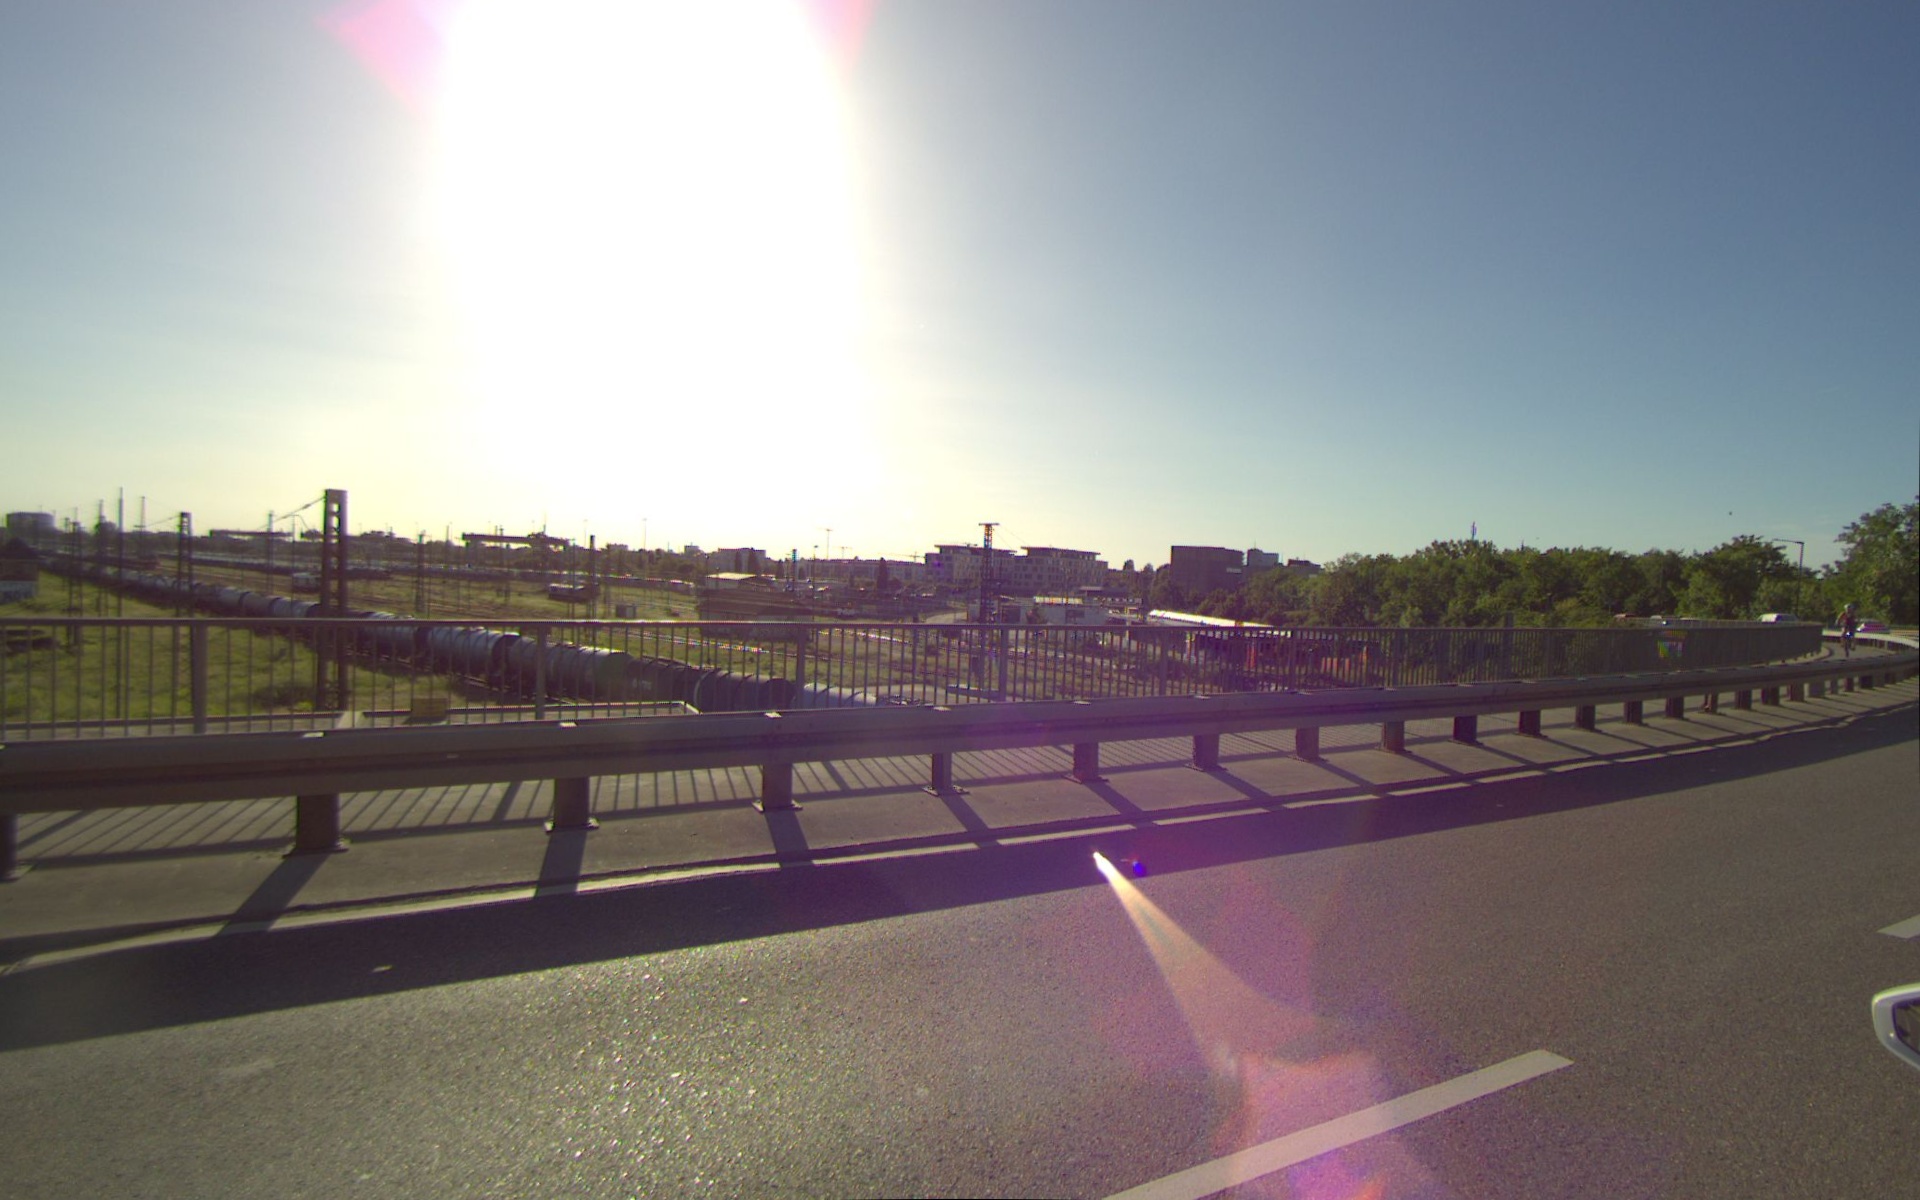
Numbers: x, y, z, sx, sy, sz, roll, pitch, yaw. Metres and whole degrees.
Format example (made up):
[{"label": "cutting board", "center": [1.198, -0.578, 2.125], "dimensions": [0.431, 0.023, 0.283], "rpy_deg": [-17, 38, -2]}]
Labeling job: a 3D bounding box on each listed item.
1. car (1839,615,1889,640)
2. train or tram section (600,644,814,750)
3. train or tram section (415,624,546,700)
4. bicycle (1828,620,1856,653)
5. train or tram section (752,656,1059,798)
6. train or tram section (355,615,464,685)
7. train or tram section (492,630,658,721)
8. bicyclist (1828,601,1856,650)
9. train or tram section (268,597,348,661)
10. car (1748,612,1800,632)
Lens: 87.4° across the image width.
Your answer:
[{"label": "car", "center": [63.283, 1.910, 70.371], "dimensions": [1.833, 1.606, 3.905], "rpy_deg": [1, 0, 31]}, {"label": "train or tram section", "center": [-14.967, 5.209, 57.666], "dimensions": [16.084, 4.652, 3.883], "rpy_deg": [1, 0, 44]}, {"label": "train or tram section", "center": [-38.514, 4.690, 80.109], "dimensions": [16.138, 5.083, 3.883], "rpy_deg": [1, 0, 44]}, {"label": "bicycle", "center": [29.445, 1.201, 33.524], "dimensions": [0.646, 1.079, 1.879], "rpy_deg": [1, 0, 43]}, {"label": "train or tram section", "center": [-3.194, 5.358, 46.458], "dimensions": [16.534, 4.652, 3.883], "rpy_deg": [1, 0, 44]}, {"label": "train or tram section", "center": [-50.245, 4.318, 91.325], "dimensions": [16.274, 5.592, 3.883], "rpy_deg": [1, 0, 44]}, {"label": "train or tram section", "center": [-26.741, 4.839, 68.863], "dimensions": [16.434, 5.083, 3.883], "rpy_deg": [1, 0, 44]}, {"label": "bicyclist", "center": [29.370, 0.842, 33.437], "dimensions": [0.647, 1.611, 0.763], "rpy_deg": [1, 0, 44]}, {"label": "train or tram section", "center": [-74.343, 3.079, 114.266], "dimensions": [16.274, 6.699, 3.883], "rpy_deg": [1, 0, 44]}, {"label": "car", "center": [68.684, 1.857, 84.828], "dimensions": [1.804, 1.576, 3.895], "rpy_deg": [1, 0, 13]}]
